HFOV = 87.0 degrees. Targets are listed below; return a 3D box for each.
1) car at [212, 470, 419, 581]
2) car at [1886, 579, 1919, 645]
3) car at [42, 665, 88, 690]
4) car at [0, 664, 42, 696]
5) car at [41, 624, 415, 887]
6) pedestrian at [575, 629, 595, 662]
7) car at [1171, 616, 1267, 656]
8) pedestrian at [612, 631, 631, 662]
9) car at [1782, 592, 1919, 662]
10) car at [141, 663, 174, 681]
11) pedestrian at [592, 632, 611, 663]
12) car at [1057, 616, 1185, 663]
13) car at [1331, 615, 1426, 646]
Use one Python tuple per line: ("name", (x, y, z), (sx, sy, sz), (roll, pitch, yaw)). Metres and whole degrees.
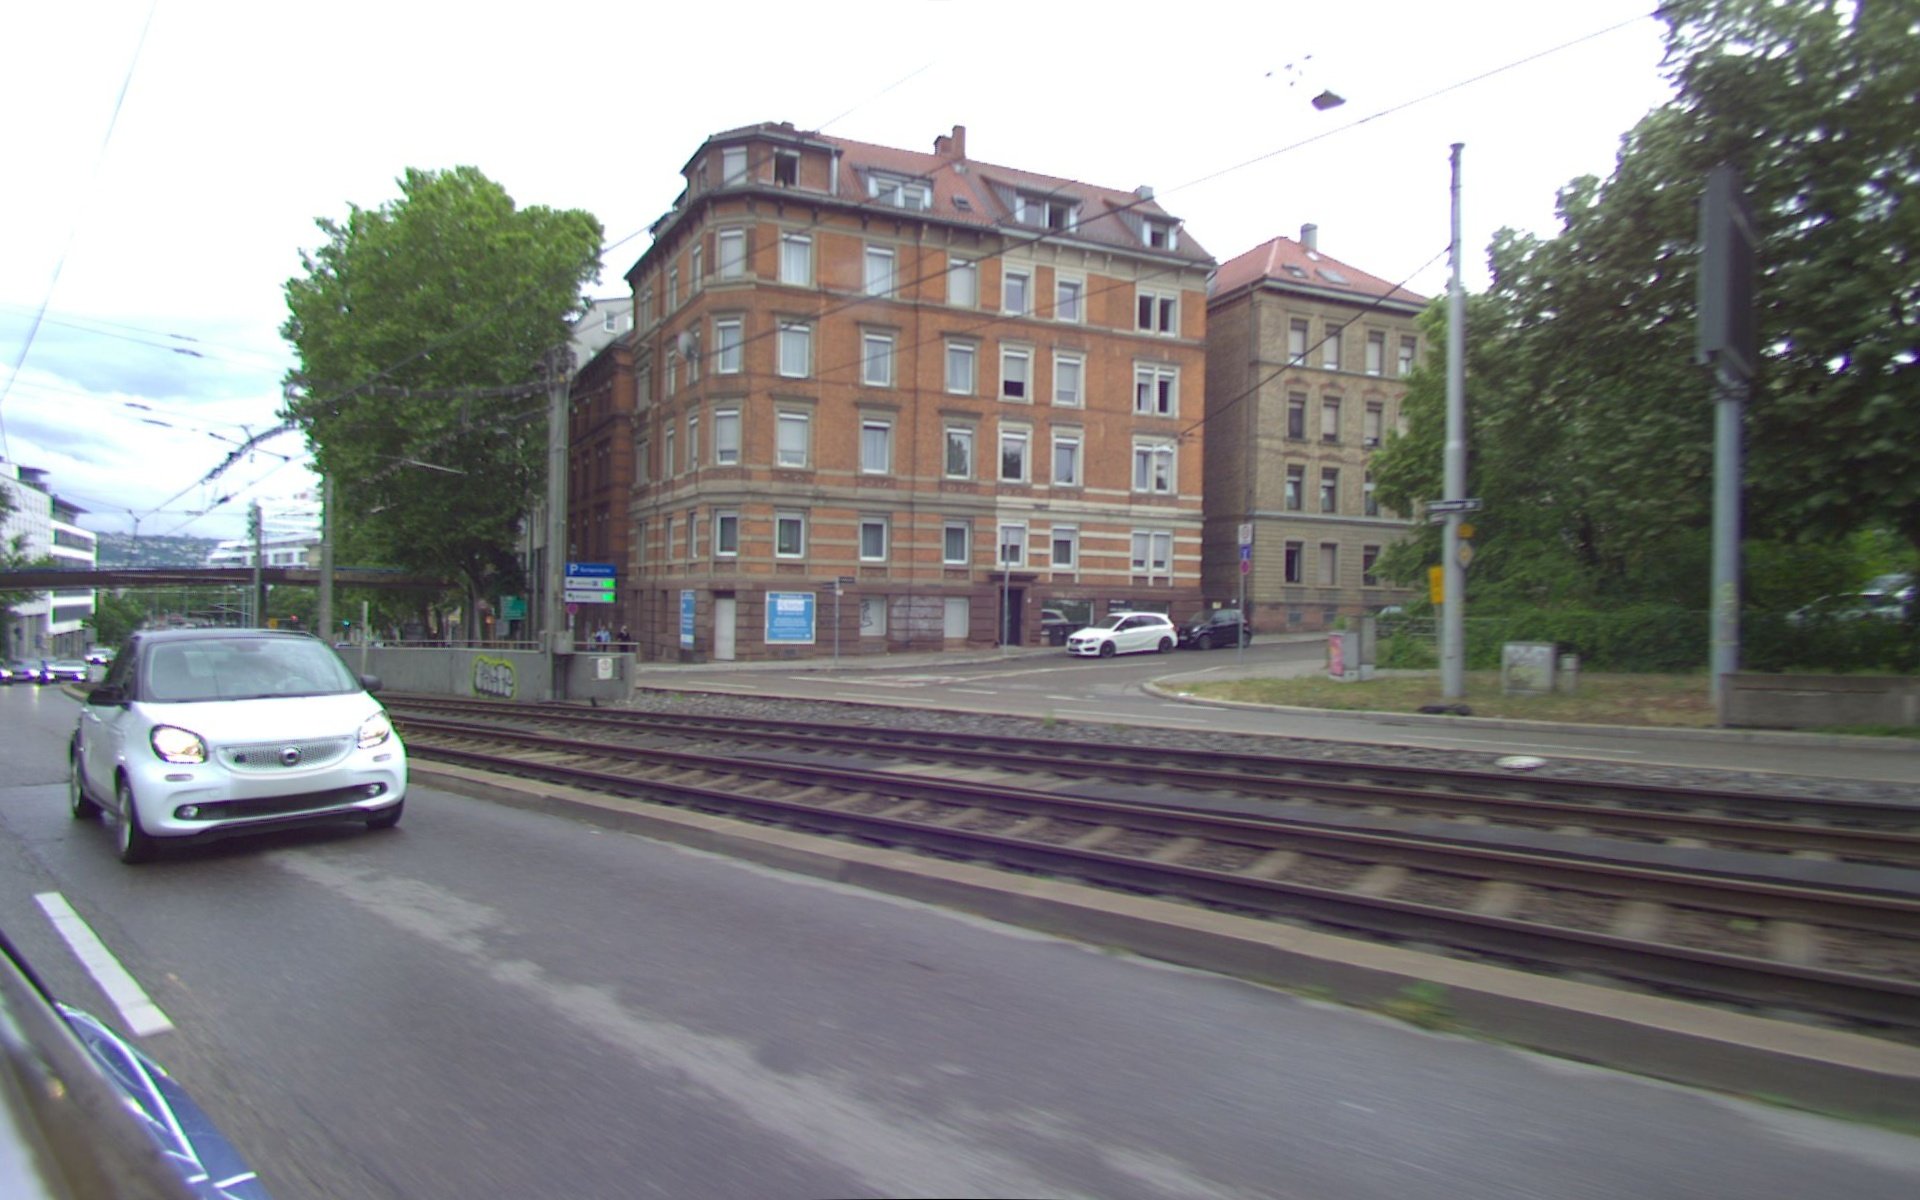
("car", (-13.874, -1.513, 21.795), (3.978, 2.029, 1.983), (-2, -1, 26))
("car", (29.596, 0.315, 29.036), (1.966, 1.922, 4.012), (0, -2, -30))
("car", (-57.404, 4.944, 64.957), (1.708, 1.386, 4.010), (-1, -1, -35))
("car", (-47.769, 4.058, 51.369), (1.616, 1.386, 3.580), (-1, -1, -40))
("car", (-5.829, 0.997, 7.898), (3.721, 1.542, 1.658), (-3, -2, 43))
("pedestrian", (-16.244, 1.968, 43.842), (0.538, 1.364, 0.612), (-2, -1, 41))
("car", (10.035, 1.382, 39.229), (3.328, 1.477, 1.662), (0, -2, -27))
("pedestrian", (-15.028, 2.059, 44.920), (0.538, 1.364, 0.612), (-3, -2, 41))
("car", (22.965, 0.642, 24.732), (1.966, 1.634, 4.012), (-1, -1, -30))
("car", (-73.234, 6.539, 92.404), (1.966, 1.386, 4.011), (-1, -1, -33))
("pedestrian", (-15.798, 2.091, 44.613), (0.538, 1.364, 0.612), (-2, -1, 41))
("car", (5.919, 1.415, 37.232), (4.361, 1.610, 1.847), (0, -2, -27))
("car", (17.591, 1.274, 42.513), (3.614, 1.214, 1.734), (0, -2, -27))
